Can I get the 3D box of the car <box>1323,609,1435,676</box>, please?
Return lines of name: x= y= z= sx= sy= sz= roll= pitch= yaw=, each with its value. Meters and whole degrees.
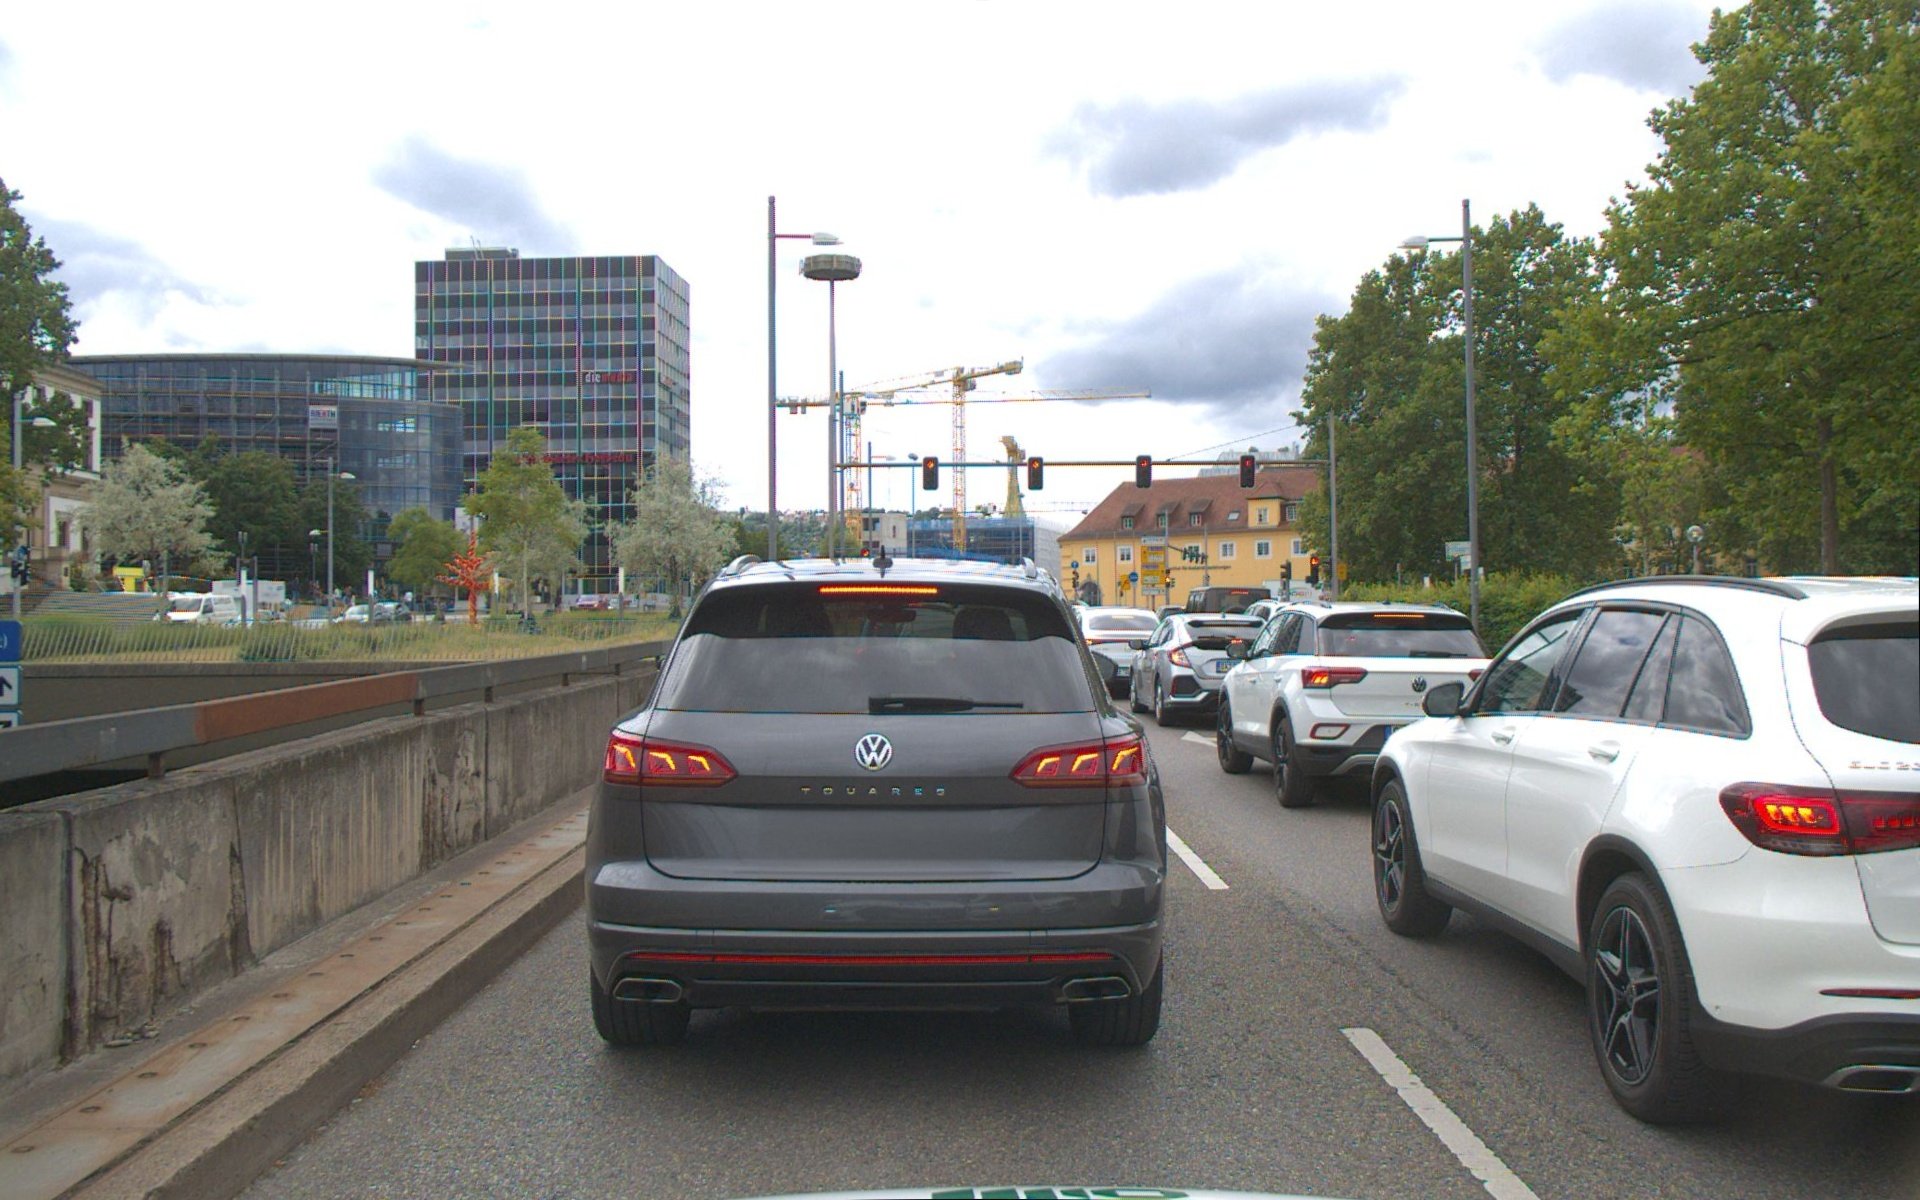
car: x=10.116 y=1.027 z=40.239 sx=1.891 sy=1.485 sz=4.529 roll=1 pitch=-1 yaw=4

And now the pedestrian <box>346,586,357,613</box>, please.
pedestrian: x=-46.382 y=-0.056 z=125.973 sx=0.728 sy=2.049 sz=1.076 roll=-1 pitch=1 yaw=-22

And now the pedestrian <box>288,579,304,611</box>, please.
pedestrian: x=-43.002 y=-0.302 z=107.177 sx=0.723 sy=2.049 sz=0.792 roll=0 pitch=-2 yaw=-3

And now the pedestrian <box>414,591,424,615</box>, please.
pedestrian: x=-46.496 y=0.224 z=142.156 sx=0.726 sy=2.049 sz=0.789 roll=-1 pitch=1 yaw=-16

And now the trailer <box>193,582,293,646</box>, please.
trailer: x=-31.575 y=0.563 z=73.040 sx=1.996 sy=2.650 sz=5.507 roll=2 pitch=1 yaw=-1

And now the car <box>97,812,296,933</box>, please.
car: x=-20.340 y=7.227 z=44.464 sx=2.566 sy=2.351 sz=5.933 roll=2 pitch=-1 yaw=-1

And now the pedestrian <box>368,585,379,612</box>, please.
pedestrian: x=-45.375 y=-0.095 z=127.953 sx=0.726 sy=2.049 sz=0.789 roll=-1 pitch=1 yaw=-16

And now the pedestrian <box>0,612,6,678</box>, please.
pedestrian: x=-30.458 y=1.406 z=51.912 sx=0.850 sy=2.049 sz=0.623 roll=-1 pitch=1 yaw=-27

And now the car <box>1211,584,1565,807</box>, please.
car: x=3.414 y=0.713 z=14.114 sx=1.887 sy=1.578 sz=4.489 roll=1 pitch=-1 yaw=0

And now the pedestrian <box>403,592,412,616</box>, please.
pedestrian: x=-47.392 y=0.327 z=141.859 sx=0.726 sy=2.049 sz=0.789 roll=-1 pitch=1 yaw=-16

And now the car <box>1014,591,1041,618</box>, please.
car: x=4.536 y=0.307 z=111.503 sx=1.586 sy=1.656 sz=3.999 roll=2 pitch=-1 yaw=0

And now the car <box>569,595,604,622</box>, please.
car: x=-30.327 y=0.667 z=134.491 sx=1.953 sy=2.048 sz=4.690 roll=0 pitch=1 yaw=-2

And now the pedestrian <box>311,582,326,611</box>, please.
pedestrian: x=-45.298 y=-0.254 z=116.785 sx=0.723 sy=2.049 sz=0.793 roll=-1 pitch=1 yaw=0

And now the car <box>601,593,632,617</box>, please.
car: x=-30.849 y=0.428 z=148.650 sx=1.953 sy=2.048 sz=4.691 roll=0 pitch=1 yaw=-1

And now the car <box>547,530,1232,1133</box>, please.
car: x=-0.228 y=0.656 z=6.641 sx=1.912 sy=1.680 sz=3.999 roll=0 pitch=0 yaw=-1

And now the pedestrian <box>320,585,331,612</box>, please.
pedestrian: x=-48.026 y=-0.125 z=125.124 sx=0.729 sy=2.049 sz=0.914 roll=-1 pitch=1 yaw=-24

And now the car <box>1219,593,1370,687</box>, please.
car: x=6.442 y=0.722 z=32.332 sx=1.953 sy=1.668 sz=4.303 roll=0 pitch=1 yaw=-2

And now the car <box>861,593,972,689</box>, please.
car: x=-0.802 y=0.724 z=30.997 sx=1.912 sy=1.628 sz=3.930 roll=2 pitch=0 yaw=-1

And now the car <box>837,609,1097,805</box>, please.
car: x=0.021 y=0.813 z=14.380 sx=1.912 sy=1.408 sz=3.930 roll=2 pitch=0 yaw=-1

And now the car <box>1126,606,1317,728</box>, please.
car: x=3.385 y=0.839 z=22.232 sx=1.887 sy=1.457 sz=4.489 roll=1 pitch=-1 yaw=0

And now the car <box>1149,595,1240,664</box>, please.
car: x=6.297 y=0.796 z=44.771 sx=1.871 sy=1.727 sz=4.011 roll=2 pitch=-1 yaw=0

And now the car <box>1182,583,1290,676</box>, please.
car: x=6.478 y=0.684 z=39.195 sx=1.871 sy=2.049 sz=4.011 roll=2 pitch=-1 yaw=0

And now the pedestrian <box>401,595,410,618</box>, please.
pedestrian: x=-49.772 y=0.570 z=148.444 sx=0.728 sy=2.049 sz=0.787 roll=-1 pitch=1 yaw=-23

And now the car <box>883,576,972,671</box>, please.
car: x=-0.759 y=0.531 z=38.533 sx=1.912 sy=2.053 sz=3.930 roll=2 pitch=0 yaw=-1

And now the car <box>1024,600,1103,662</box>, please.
car: x=2.701 y=0.817 z=44.055 sx=1.887 sy=1.556 sz=4.047 roll=1 pitch=-1 yaw=0

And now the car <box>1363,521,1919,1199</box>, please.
car: x=2.992 y=0.651 z=6.234 sx=1.887 sy=1.682 sz=4.490 roll=0 pitch=0 yaw=0

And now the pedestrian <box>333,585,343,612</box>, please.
pedestrian: x=-47.023 y=-0.098 z=125.050 sx=0.728 sy=2.049 sz=0.915 roll=-1 pitch=1 yaw=-21

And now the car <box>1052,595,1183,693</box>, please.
car: x=2.668 y=0.738 z=28.947 sx=1.887 sy=1.556 sz=4.489 roll=1 pitch=-1 yaw=0

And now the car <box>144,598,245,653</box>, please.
car: x=-31.382 y=1.004 z=67.931 sx=1.953 sy=2.048 sz=4.692 roll=0 pitch=1 yaw=0
